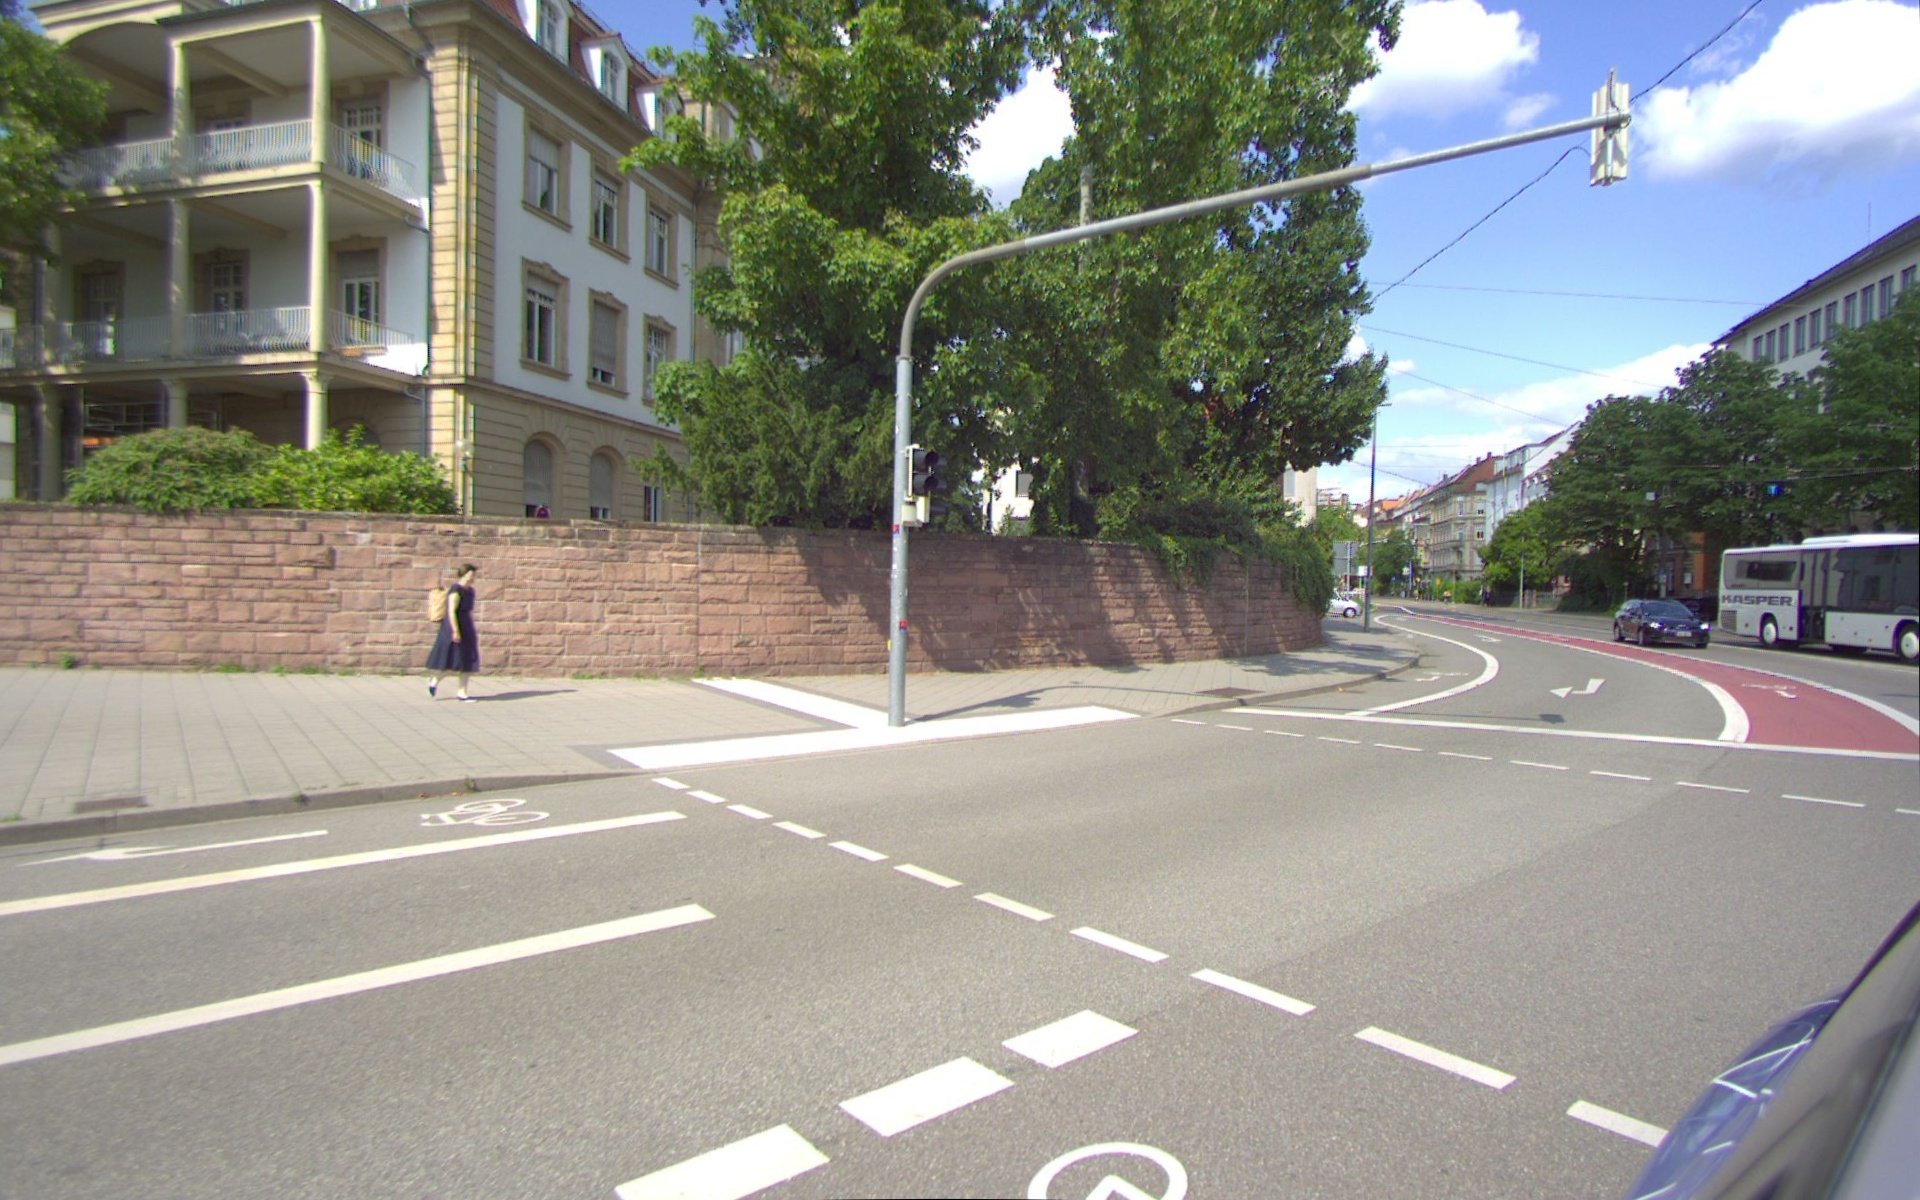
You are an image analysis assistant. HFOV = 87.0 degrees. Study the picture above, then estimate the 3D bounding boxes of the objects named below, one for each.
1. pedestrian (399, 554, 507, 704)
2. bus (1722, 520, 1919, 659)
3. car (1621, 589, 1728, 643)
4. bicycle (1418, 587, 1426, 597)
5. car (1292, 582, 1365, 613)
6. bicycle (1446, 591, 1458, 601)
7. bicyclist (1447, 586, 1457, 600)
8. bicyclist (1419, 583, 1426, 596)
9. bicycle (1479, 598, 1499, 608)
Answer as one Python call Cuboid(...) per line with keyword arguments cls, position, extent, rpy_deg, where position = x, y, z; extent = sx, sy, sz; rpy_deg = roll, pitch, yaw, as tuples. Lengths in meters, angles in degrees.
Cuboid(cls="pedestrian", position=(-5.916, 0.316, 11.825), extent=(0.879, 1.659, 0.742), rpy_deg=(2, 1, 28))
Cuboid(cls="bus", position=(25.438, -0.315, 27.527), extent=(2.884, 3.369, 12.156), rpy_deg=(0, 1, 14))
Cuboid(cls="car", position=(23.039, 0.477, 32.805), extent=(1.673, 1.597, 4.131), rpy_deg=(1, 1, 19))
Cuboid(cls="bicycle", position=(59.470, -1.010, 130.230), extent=(0.597, 1.110, 2.011), rpy_deg=(7, 2, 17))
Cuboid(cls="car", position=(21.257, -0.155, 58.527), extent=(3.841, 1.625, 1.655), rpy_deg=(2, -1, 18))
Cuboid(cls="bicycle", position=(54.014, -0.412, 111.042), extent=(0.690, 1.030, 1.813), rpy_deg=(3, 1, 11))
Cuboid(cls="bicyclist", position=(54.036, -0.780, 111.103), extent=(0.682, 1.538, 0.865), rpy_deg=(3, 1, 12))
Cuboid(cls="bicyclist", position=(59.502, -1.336, 130.204), extent=(0.593, 1.510, 0.877), rpy_deg=(7, 2, 17))
Cuboid(cls="bicycle", position=(55.118, 0.296, 105.447), extent=(1.129, 0.920, 2.975), rpy_deg=(-2, 0, 14))
